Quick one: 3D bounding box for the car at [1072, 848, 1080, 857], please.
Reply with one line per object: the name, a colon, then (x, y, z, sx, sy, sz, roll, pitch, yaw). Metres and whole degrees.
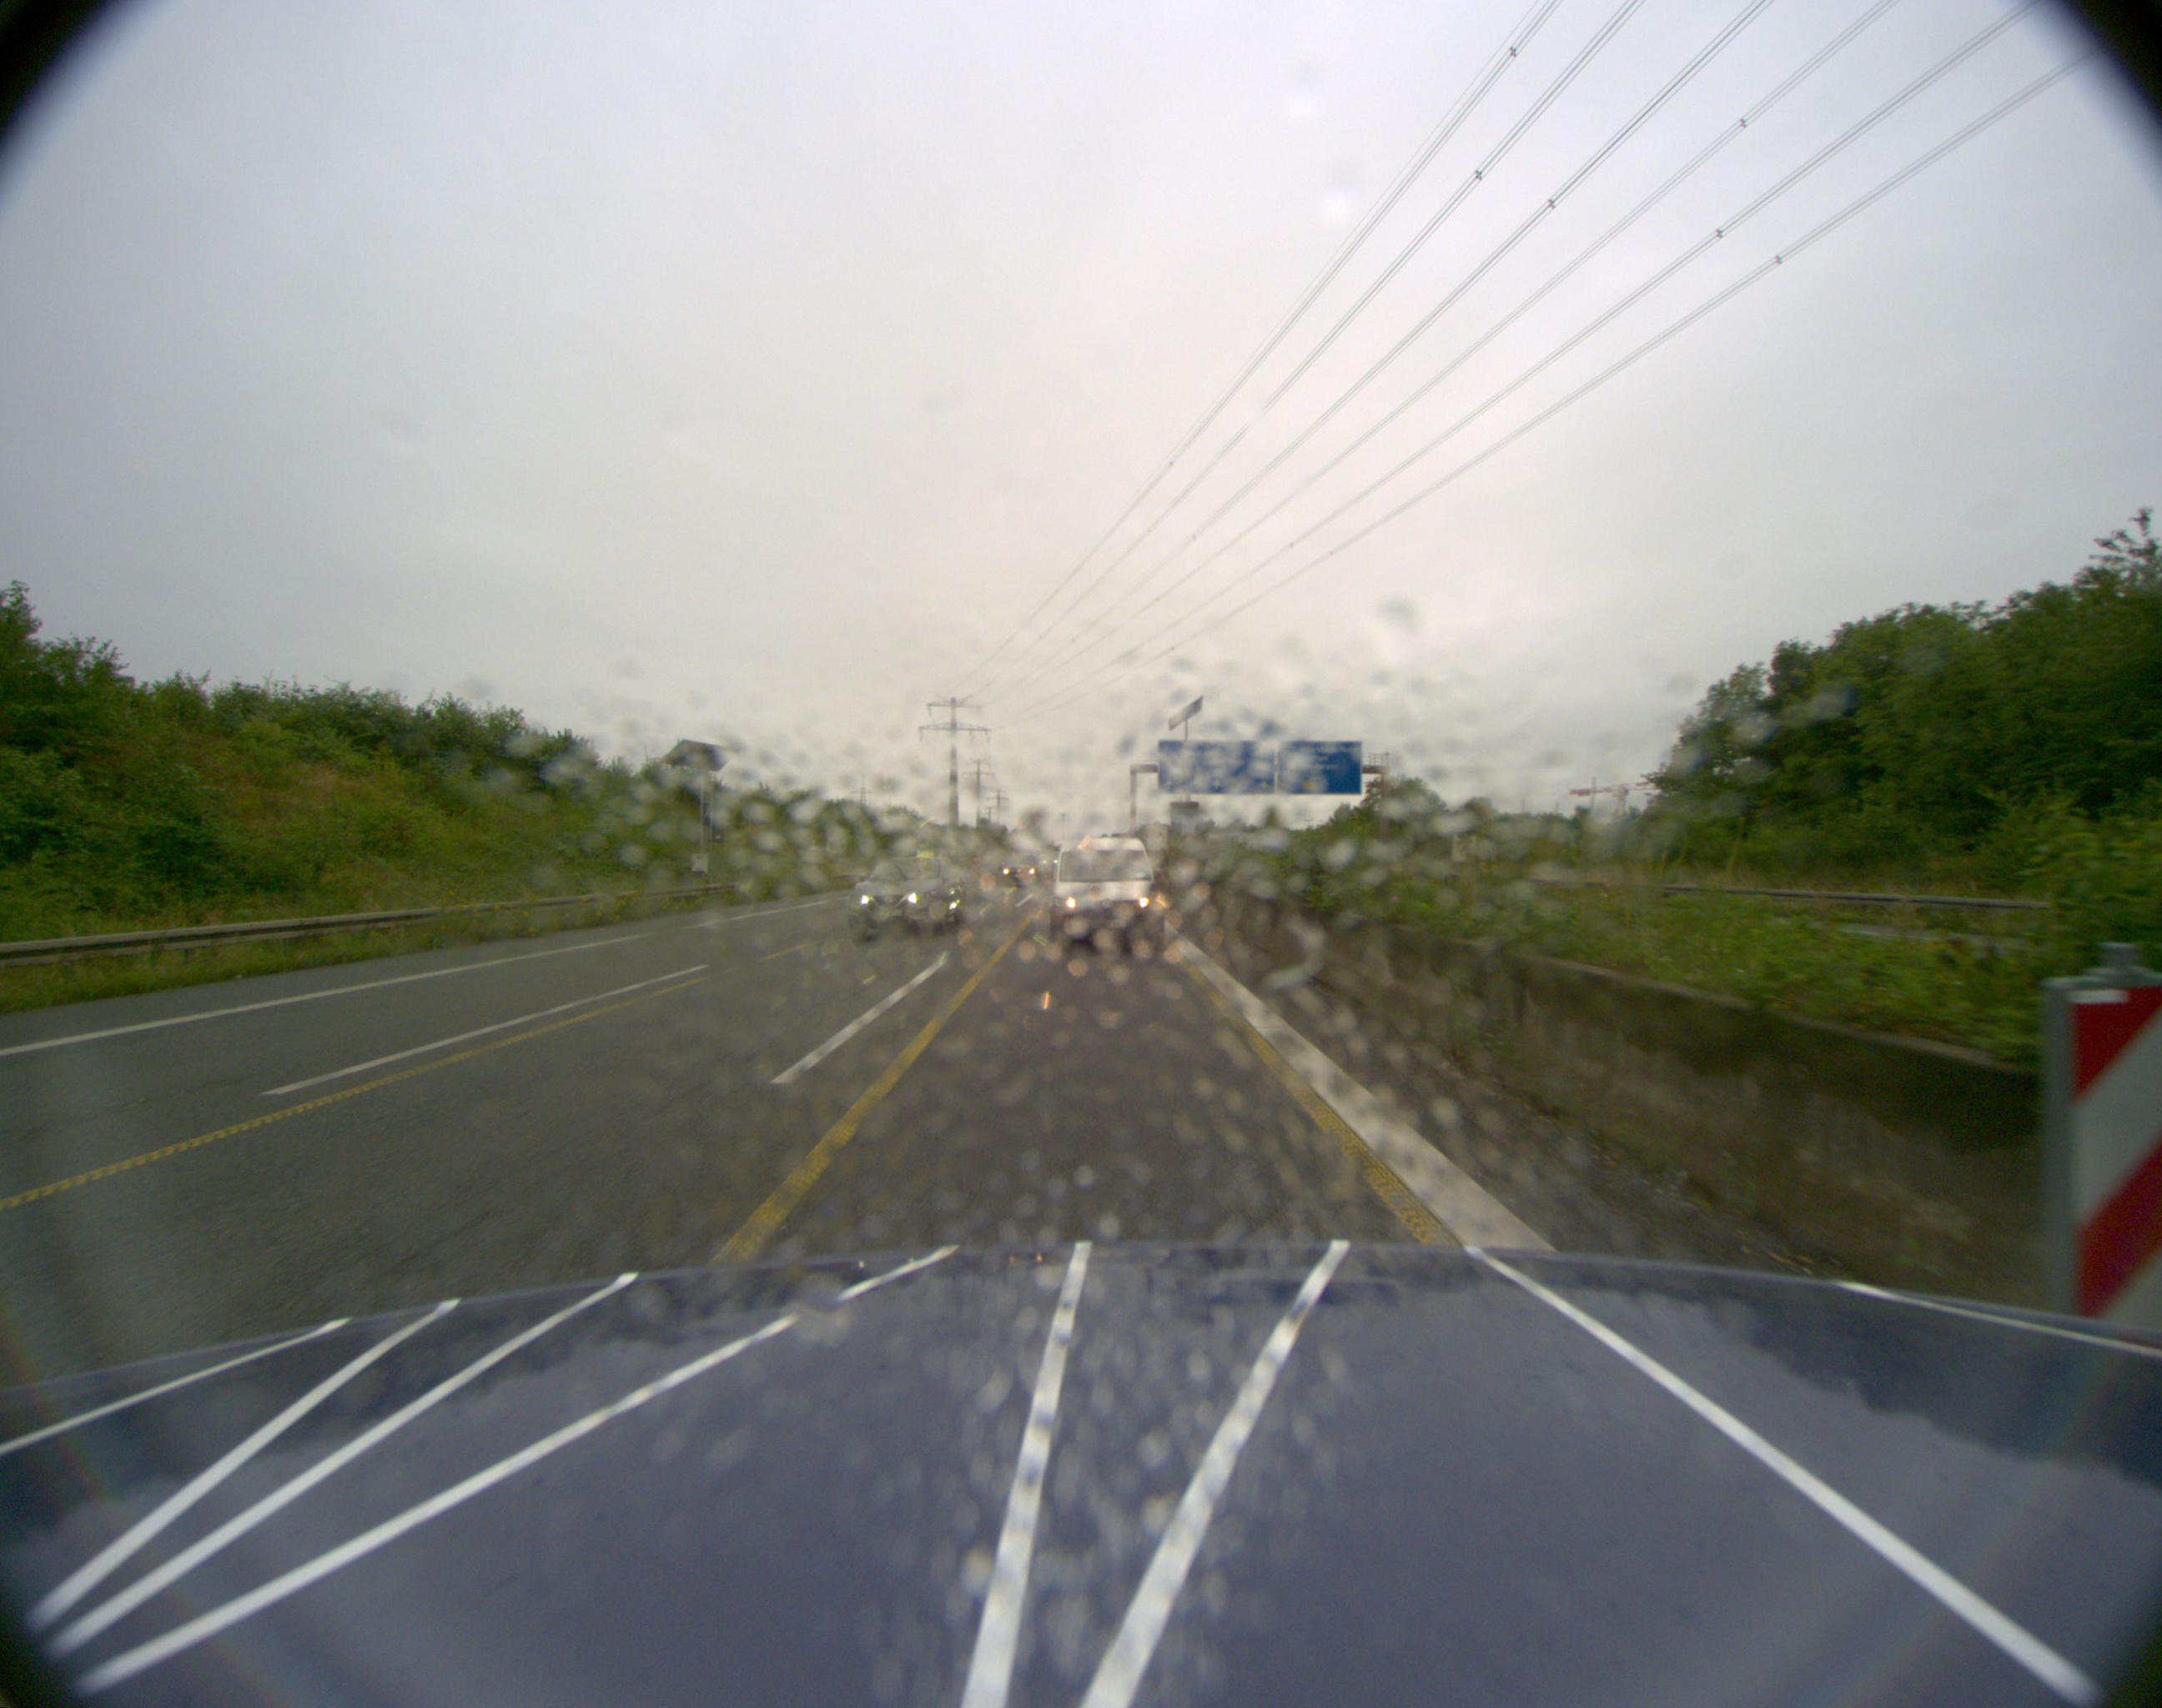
car: (-1.048, -0.319, 177.282, 1.784, 2.002, 4.000, 0, 0, 1)

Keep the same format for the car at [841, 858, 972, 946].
car: (-3.480, 0.893, 15.942, 1.804, 1.523, 4.149, -1, 0, -1)

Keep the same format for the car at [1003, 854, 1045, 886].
car: (-2.800, 0.771, 38.184, 1.804, 1.432, 4.149, -1, 0, -1)

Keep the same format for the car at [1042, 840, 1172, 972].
car: (0.380, 0.715, 12.790, 1.768, 1.803, 4.345, -1, 0, 0)

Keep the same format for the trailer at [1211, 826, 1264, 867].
trailer: (16.584, -0.789, 81.638, 2.793, 4.000, 13.249, 2, 0, 0)

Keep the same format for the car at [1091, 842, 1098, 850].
car: (3.671, -2.051, 200.947, 1.785, 2.002, 3.999, -2, 1, 1)

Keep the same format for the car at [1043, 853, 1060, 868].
car: (-3.343, 0.761, 87.046, 1.804, 1.598, 4.149, -1, 0, -1)

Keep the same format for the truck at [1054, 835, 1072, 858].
truck: (-3.223, -1.279, 136.059, 2.875, 4.007, 8.308, -1, 1, 1)

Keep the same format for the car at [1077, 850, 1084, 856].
car: (-0.238, -0.299, 216.560, 1.906, 1.608, 4.000, 0, 0, 1)

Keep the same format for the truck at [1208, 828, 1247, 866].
truck: (16.525, -0.814, 86.206, 2.793, 4.000, 7.232, 2, 1, 0)
